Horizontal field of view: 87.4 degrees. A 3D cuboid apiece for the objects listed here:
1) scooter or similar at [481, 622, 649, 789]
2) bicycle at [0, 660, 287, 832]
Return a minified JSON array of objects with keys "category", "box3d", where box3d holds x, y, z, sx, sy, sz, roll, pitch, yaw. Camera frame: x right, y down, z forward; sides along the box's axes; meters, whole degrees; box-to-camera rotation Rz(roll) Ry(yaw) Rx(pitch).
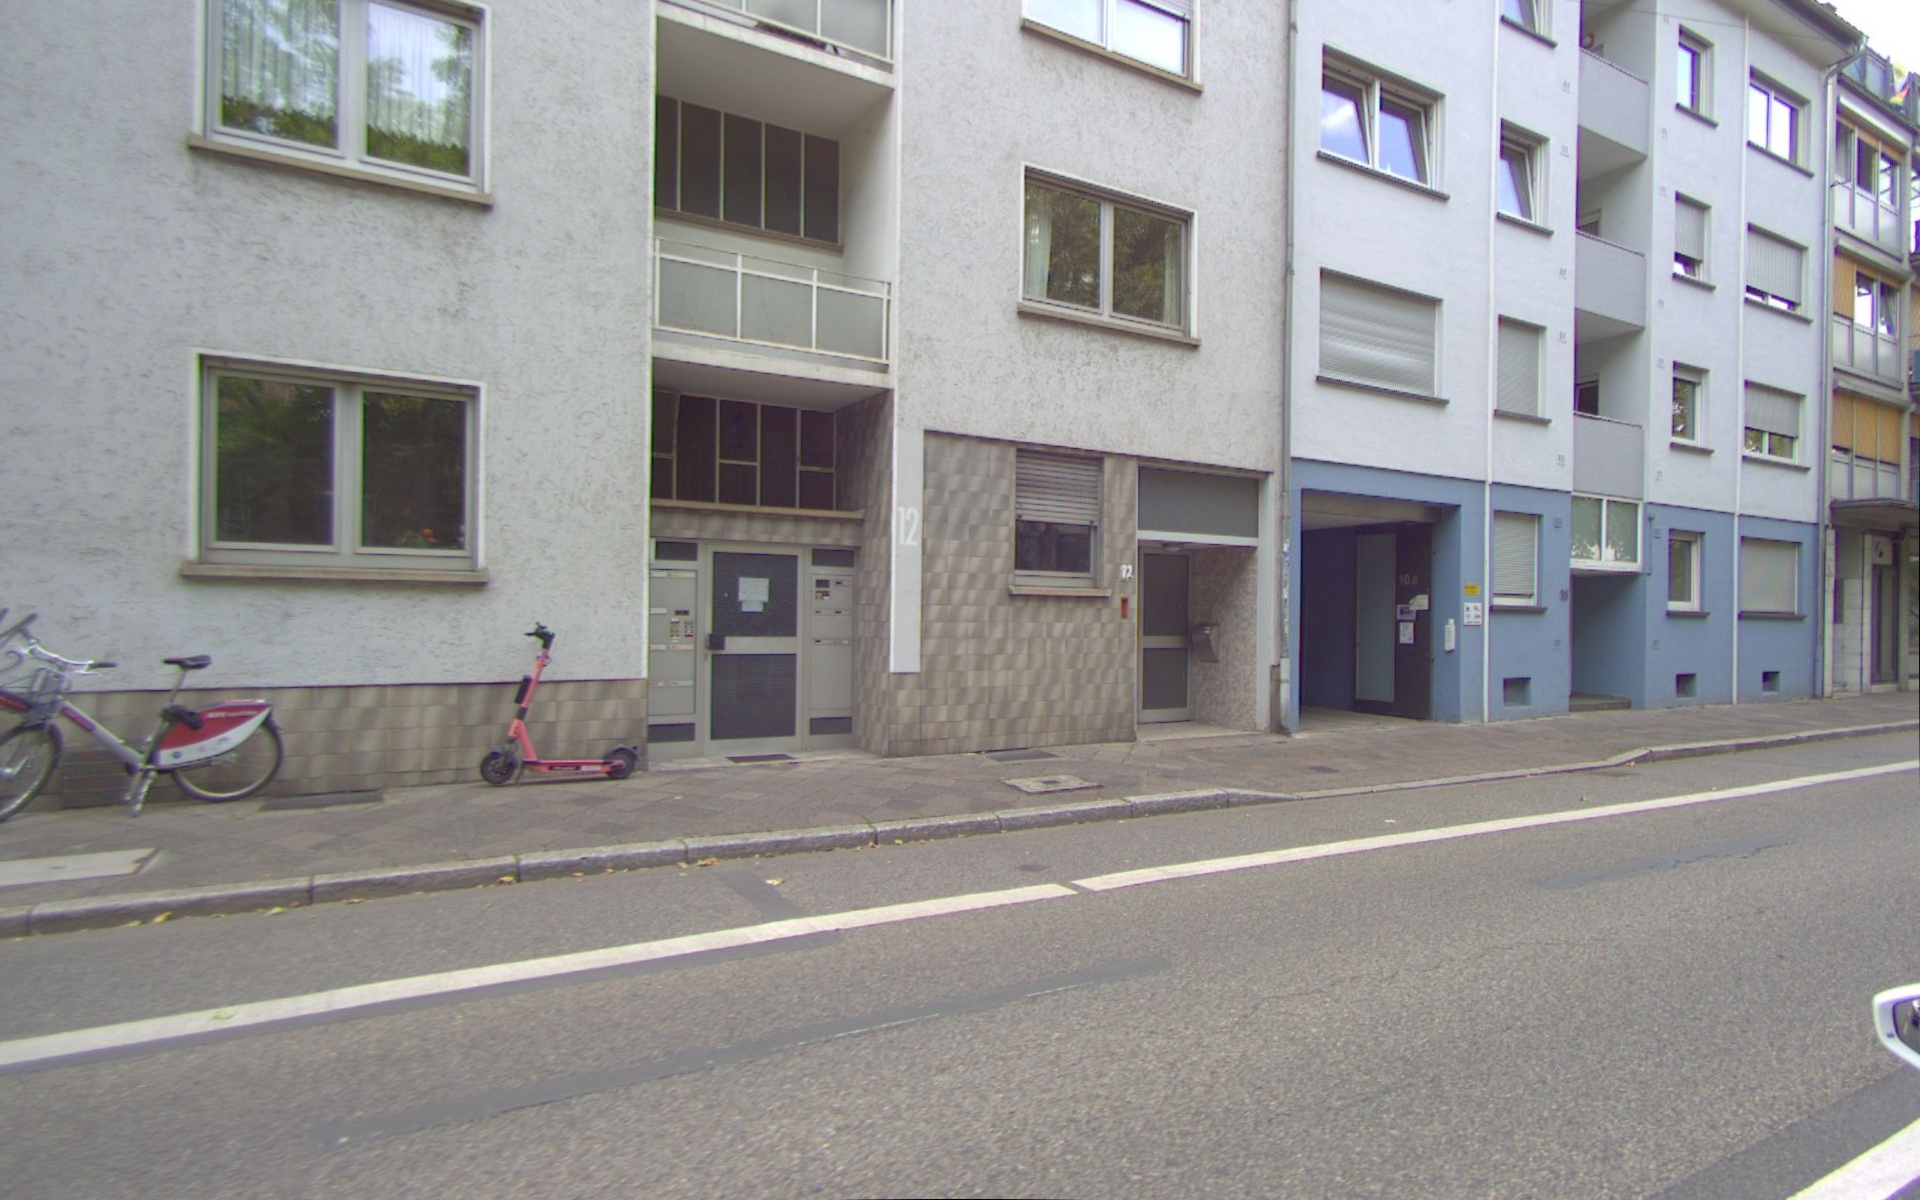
[{"category":"scooter or similar","box3d":[-3.117,0.804,7.951,1.187,1.238,0.348,1,1,-30]},{"category":"bicycle","box3d":[-5.345,0.896,6.452,1.643,0.963,0.594,1,0,-30]}]
